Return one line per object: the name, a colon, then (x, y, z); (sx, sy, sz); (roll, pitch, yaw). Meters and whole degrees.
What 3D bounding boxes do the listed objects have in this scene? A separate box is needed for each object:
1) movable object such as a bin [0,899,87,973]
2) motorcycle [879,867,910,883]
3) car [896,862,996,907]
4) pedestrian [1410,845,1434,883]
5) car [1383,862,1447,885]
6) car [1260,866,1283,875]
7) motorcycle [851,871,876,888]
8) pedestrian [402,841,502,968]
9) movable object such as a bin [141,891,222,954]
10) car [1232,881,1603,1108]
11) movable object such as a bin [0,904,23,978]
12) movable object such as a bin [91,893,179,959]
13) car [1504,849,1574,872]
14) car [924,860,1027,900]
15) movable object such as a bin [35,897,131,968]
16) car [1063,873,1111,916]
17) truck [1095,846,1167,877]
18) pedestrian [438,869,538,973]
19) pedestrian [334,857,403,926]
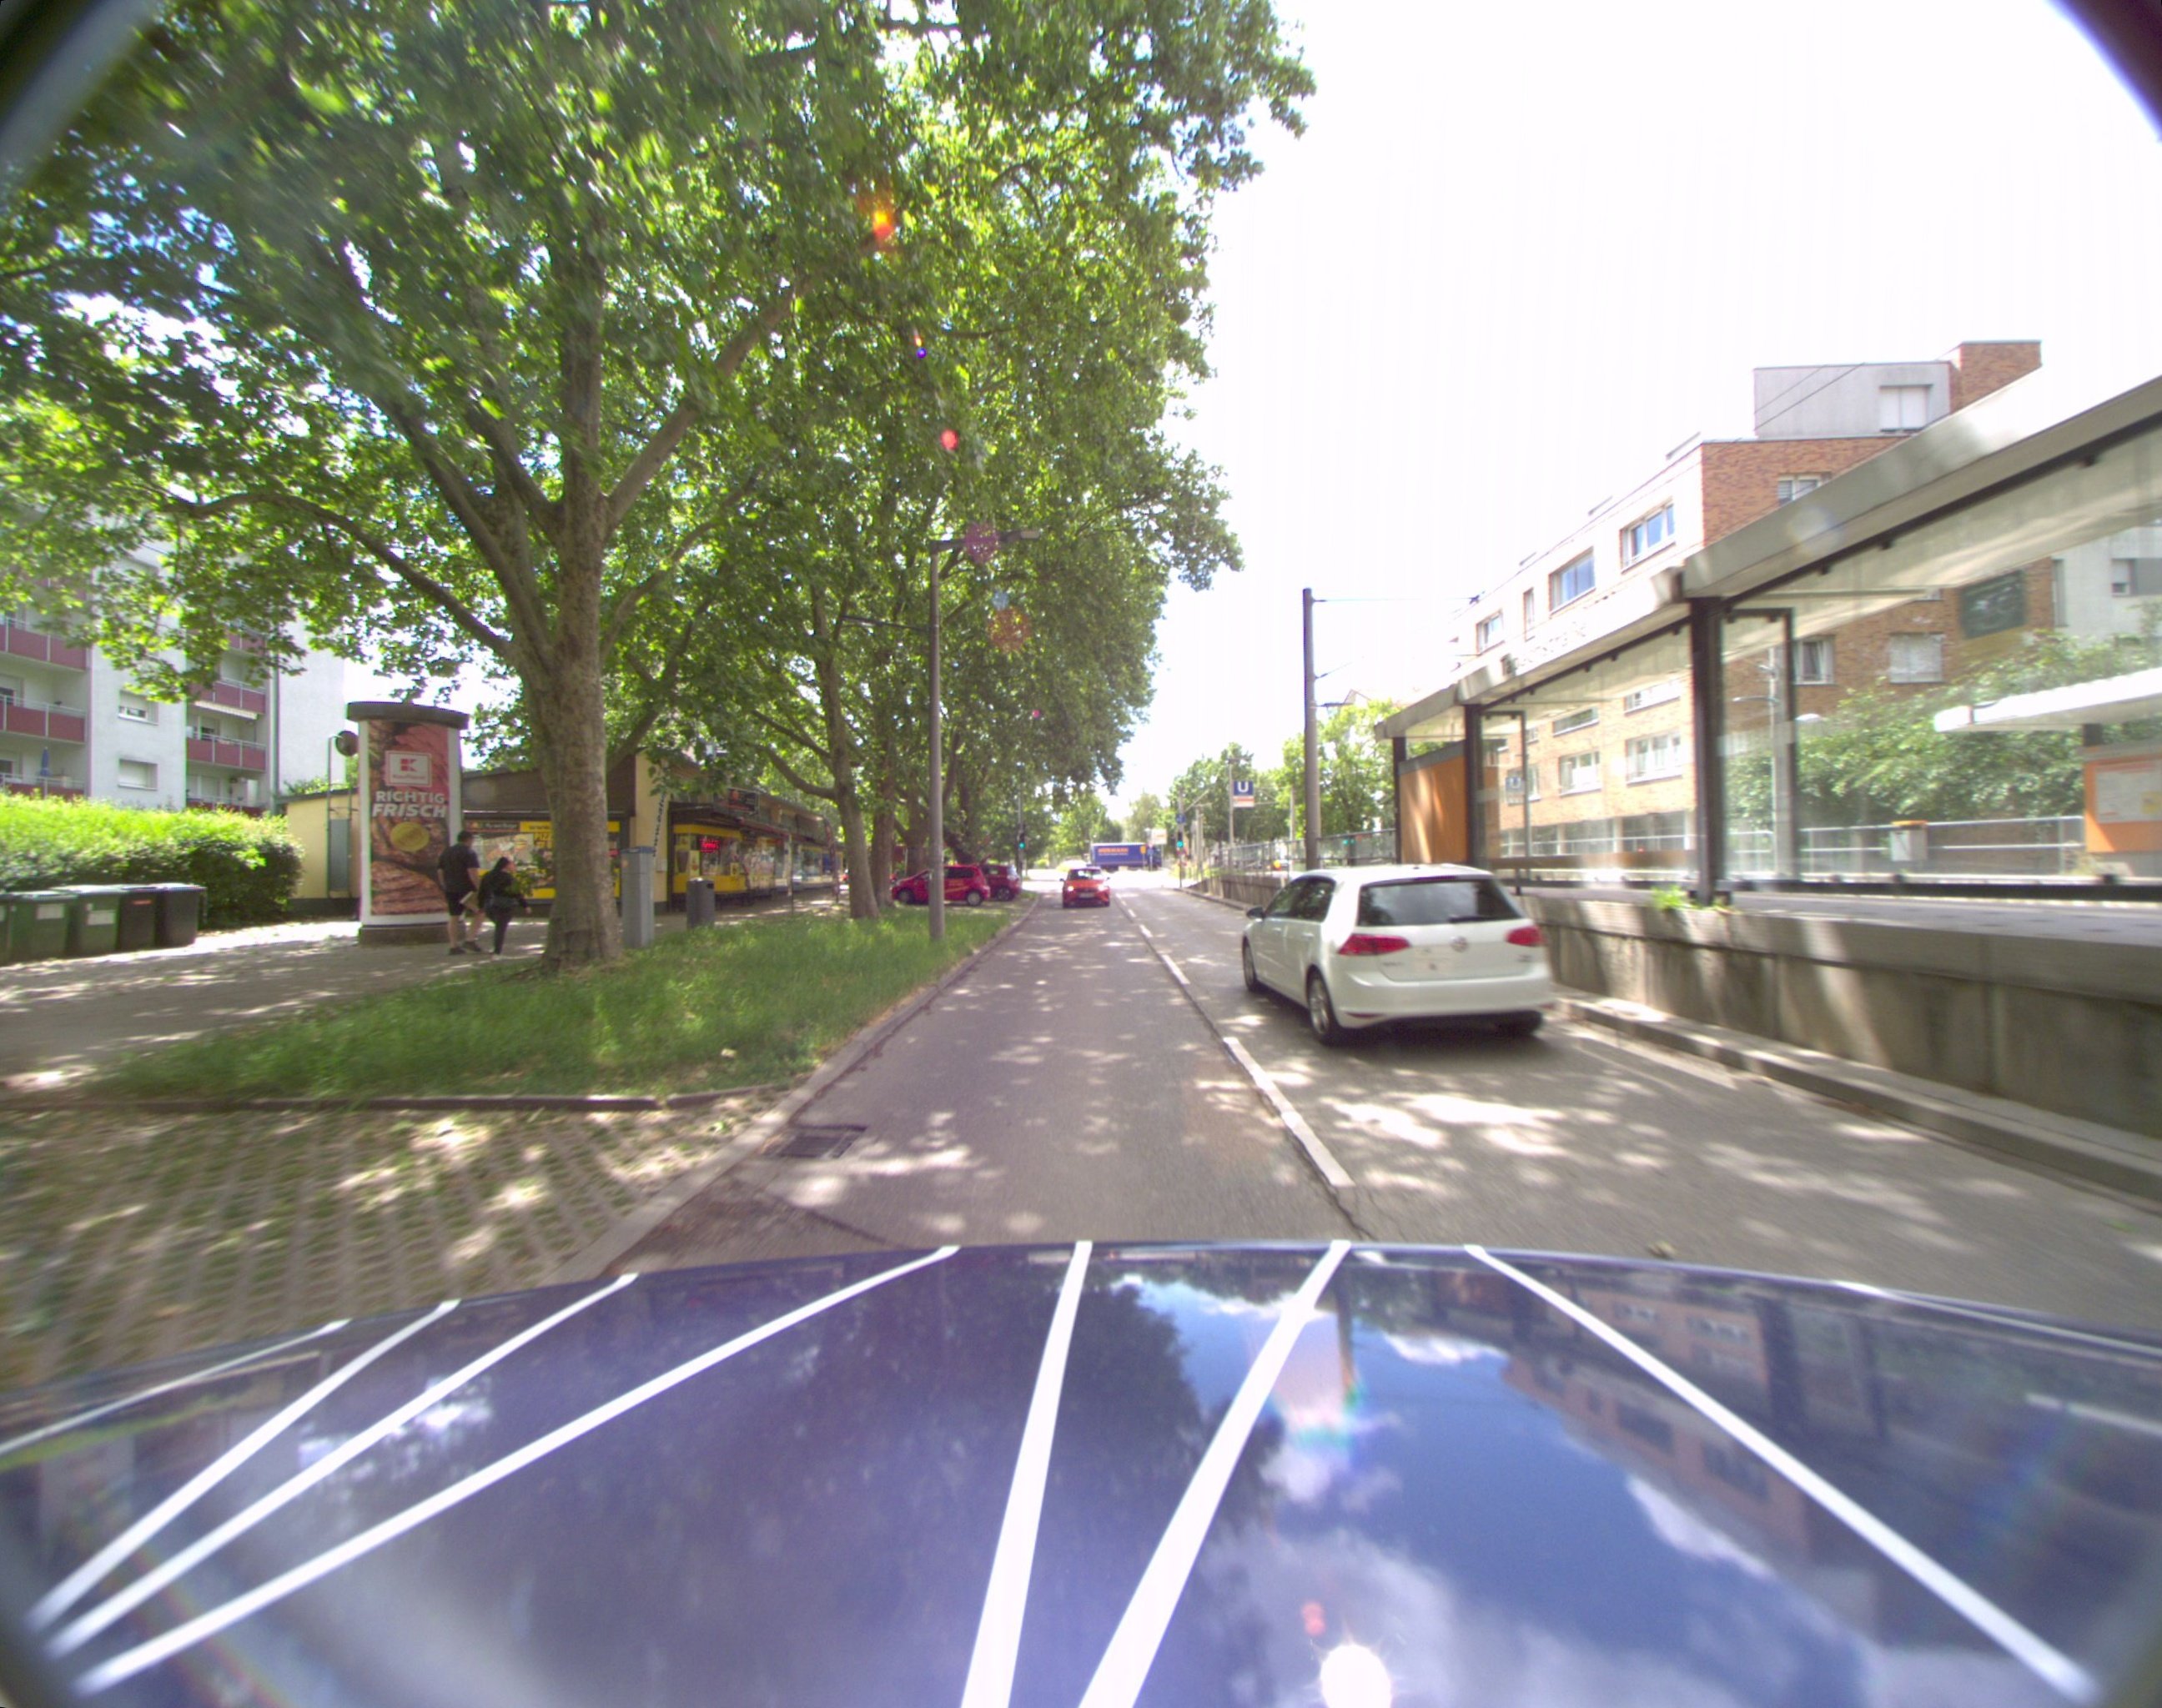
movable object such as a bin: (-15.299, 1.189, 11.122); (0.625, 1.010, 0.647); (0, 0, -3)
motorcycle: (-13.795, 1.571, 56.202); (2.135, 1.188, 0.740); (-1, -1, 9)
car: (-4.886, 1.105, 27.826); (3.416, 1.505, 1.610); (2, 0, -3)
pedestrian: (16.914, 0.499, 37.697); (0.745, 1.814, 0.829); (-1, -1, 0)
car: (22.875, 1.332, 52.141); (3.681, 1.467, 1.588); (1, -1, 3)
car: (33.179, 2.940, 132.326); (1.811, 1.514, 4.117); (0, -1, -21)
motorcycle: (-16.156, 1.879, 56.407); (2.132, 1.188, 0.741); (-1, -1, 43)
pedestrian: (-9.711, 0.752, 11.765); (0.745, 1.872, 0.941); (1, 0, 0)
movable object such as a bin: (-15.603, 1.177, 13.191); (0.625, 1.027, 0.647); (0, 0, -3)
car: (2.708, 1.043, 7.144); (1.736, 1.388, 3.751); (-3, -1, -1)
movable object such as a bin: (-15.188, 1.209, 10.347); (0.625, 1.010, 0.647); (0, 0, -3)
movable object such as a bin: (-15.554, 1.166, 12.506); (0.625, 1.027, 0.647); (0, 0, -3)
car: (29.024, 0.429, 48.201); (3.540, 1.391, 1.594); (-1, -1, -2)
car: (-4.399, 1.090, 32.114); (4.038, 1.602, 1.731); (0, -1, 3)
movable object such as a bin: (-15.487, 1.206, 11.810); (0.625, 1.027, 0.647); (0, 0, -3)
car: (0.255, 1.522, 29.398); (1.712, 1.438, 3.671); (-2, -1, 1)
truck: (6.833, 1.058, 104.612); (9.608, 4.068, 2.630); (0, -1, -8)
pedestrian: (-8.688, 0.947, 11.176); (0.627, 1.439, 1.029); (-1, 0, 1)
pedestrian: (-16.460, 0.852, 17.573); (0.752, 1.526, 0.907); (-1, 0, -6)
